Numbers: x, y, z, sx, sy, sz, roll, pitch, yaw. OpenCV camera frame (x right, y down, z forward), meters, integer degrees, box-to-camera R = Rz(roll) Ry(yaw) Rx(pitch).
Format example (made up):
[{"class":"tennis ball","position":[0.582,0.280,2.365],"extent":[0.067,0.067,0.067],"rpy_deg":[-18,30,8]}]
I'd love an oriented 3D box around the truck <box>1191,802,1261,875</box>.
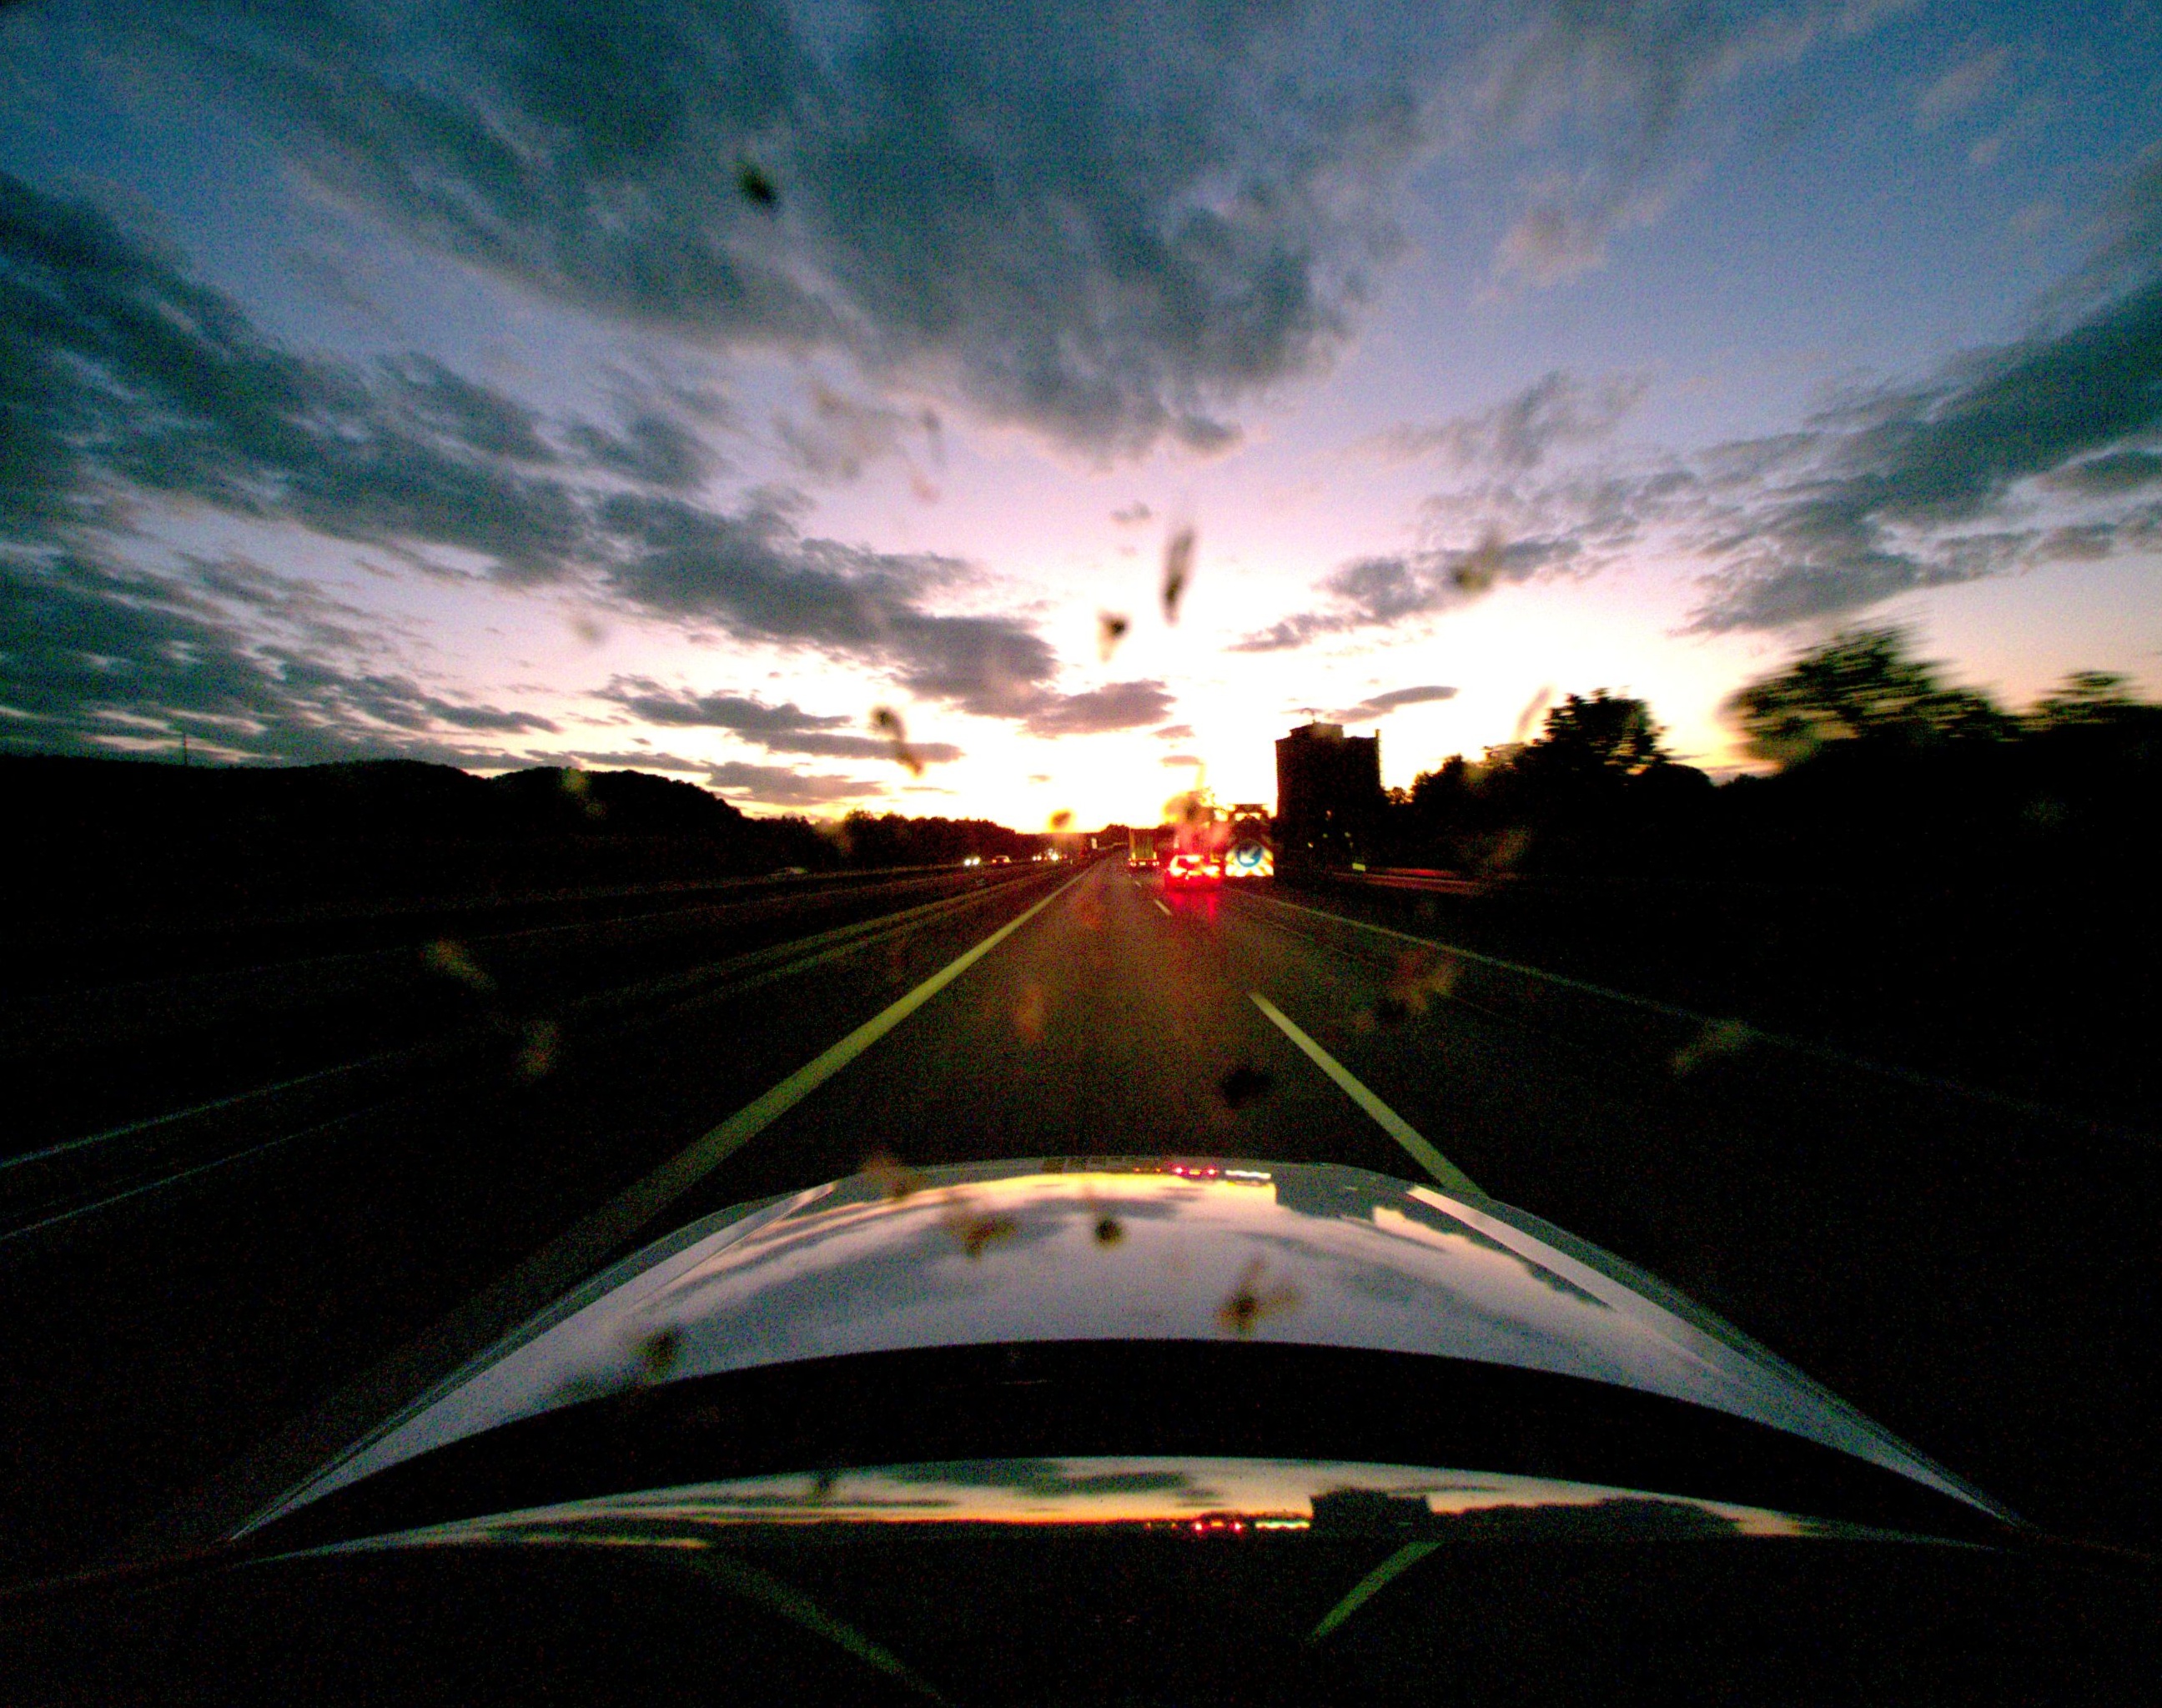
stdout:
[{"class":"truck","position":[8.914,-0.880,51.175],"extent":[2.902,4.111,9.153],"rpy_deg":[-2,0,2]}]

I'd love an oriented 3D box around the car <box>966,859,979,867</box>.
[{"class":"car","position":[-19.684,1.619,148.137],"extent":[1.662,1.494,3.675],"rpy_deg":[-1,0,2]}]

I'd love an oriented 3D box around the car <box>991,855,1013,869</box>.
[{"class":"car","position":[-9.182,0.902,94.569],"extent":[1.865,1.561,4.521],"rpy_deg":[-3,0,2]}]

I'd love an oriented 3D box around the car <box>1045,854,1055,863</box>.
[{"class":"car","position":[-6.279,0.855,164.517],"extent":[1.706,1.605,3.724],"rpy_deg":[-3,0,2]}]

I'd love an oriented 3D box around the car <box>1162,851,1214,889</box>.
[{"class":"car","position":[4.473,0.655,34.490],"extent":[1.906,1.442,4.005],"rpy_deg":[-3,0,5]}]

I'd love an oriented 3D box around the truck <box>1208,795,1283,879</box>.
[{"class":"truck","position":[8.598,-0.838,43.396],"extent":[2.777,4.058,6.414],"rpy_deg":[-2,0,2]}]

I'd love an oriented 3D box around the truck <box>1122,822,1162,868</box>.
[{"class":"truck","position":[6.166,-0.881,83.790],"extent":[3.497,4.301,9.895],"rpy_deg":[-3,0,2]}]

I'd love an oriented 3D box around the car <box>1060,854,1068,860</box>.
[{"class":"car","position":[-4.253,0.727,206.189],"extent":[1.631,1.546,3.397],"rpy_deg":[-3,0,2]}]
